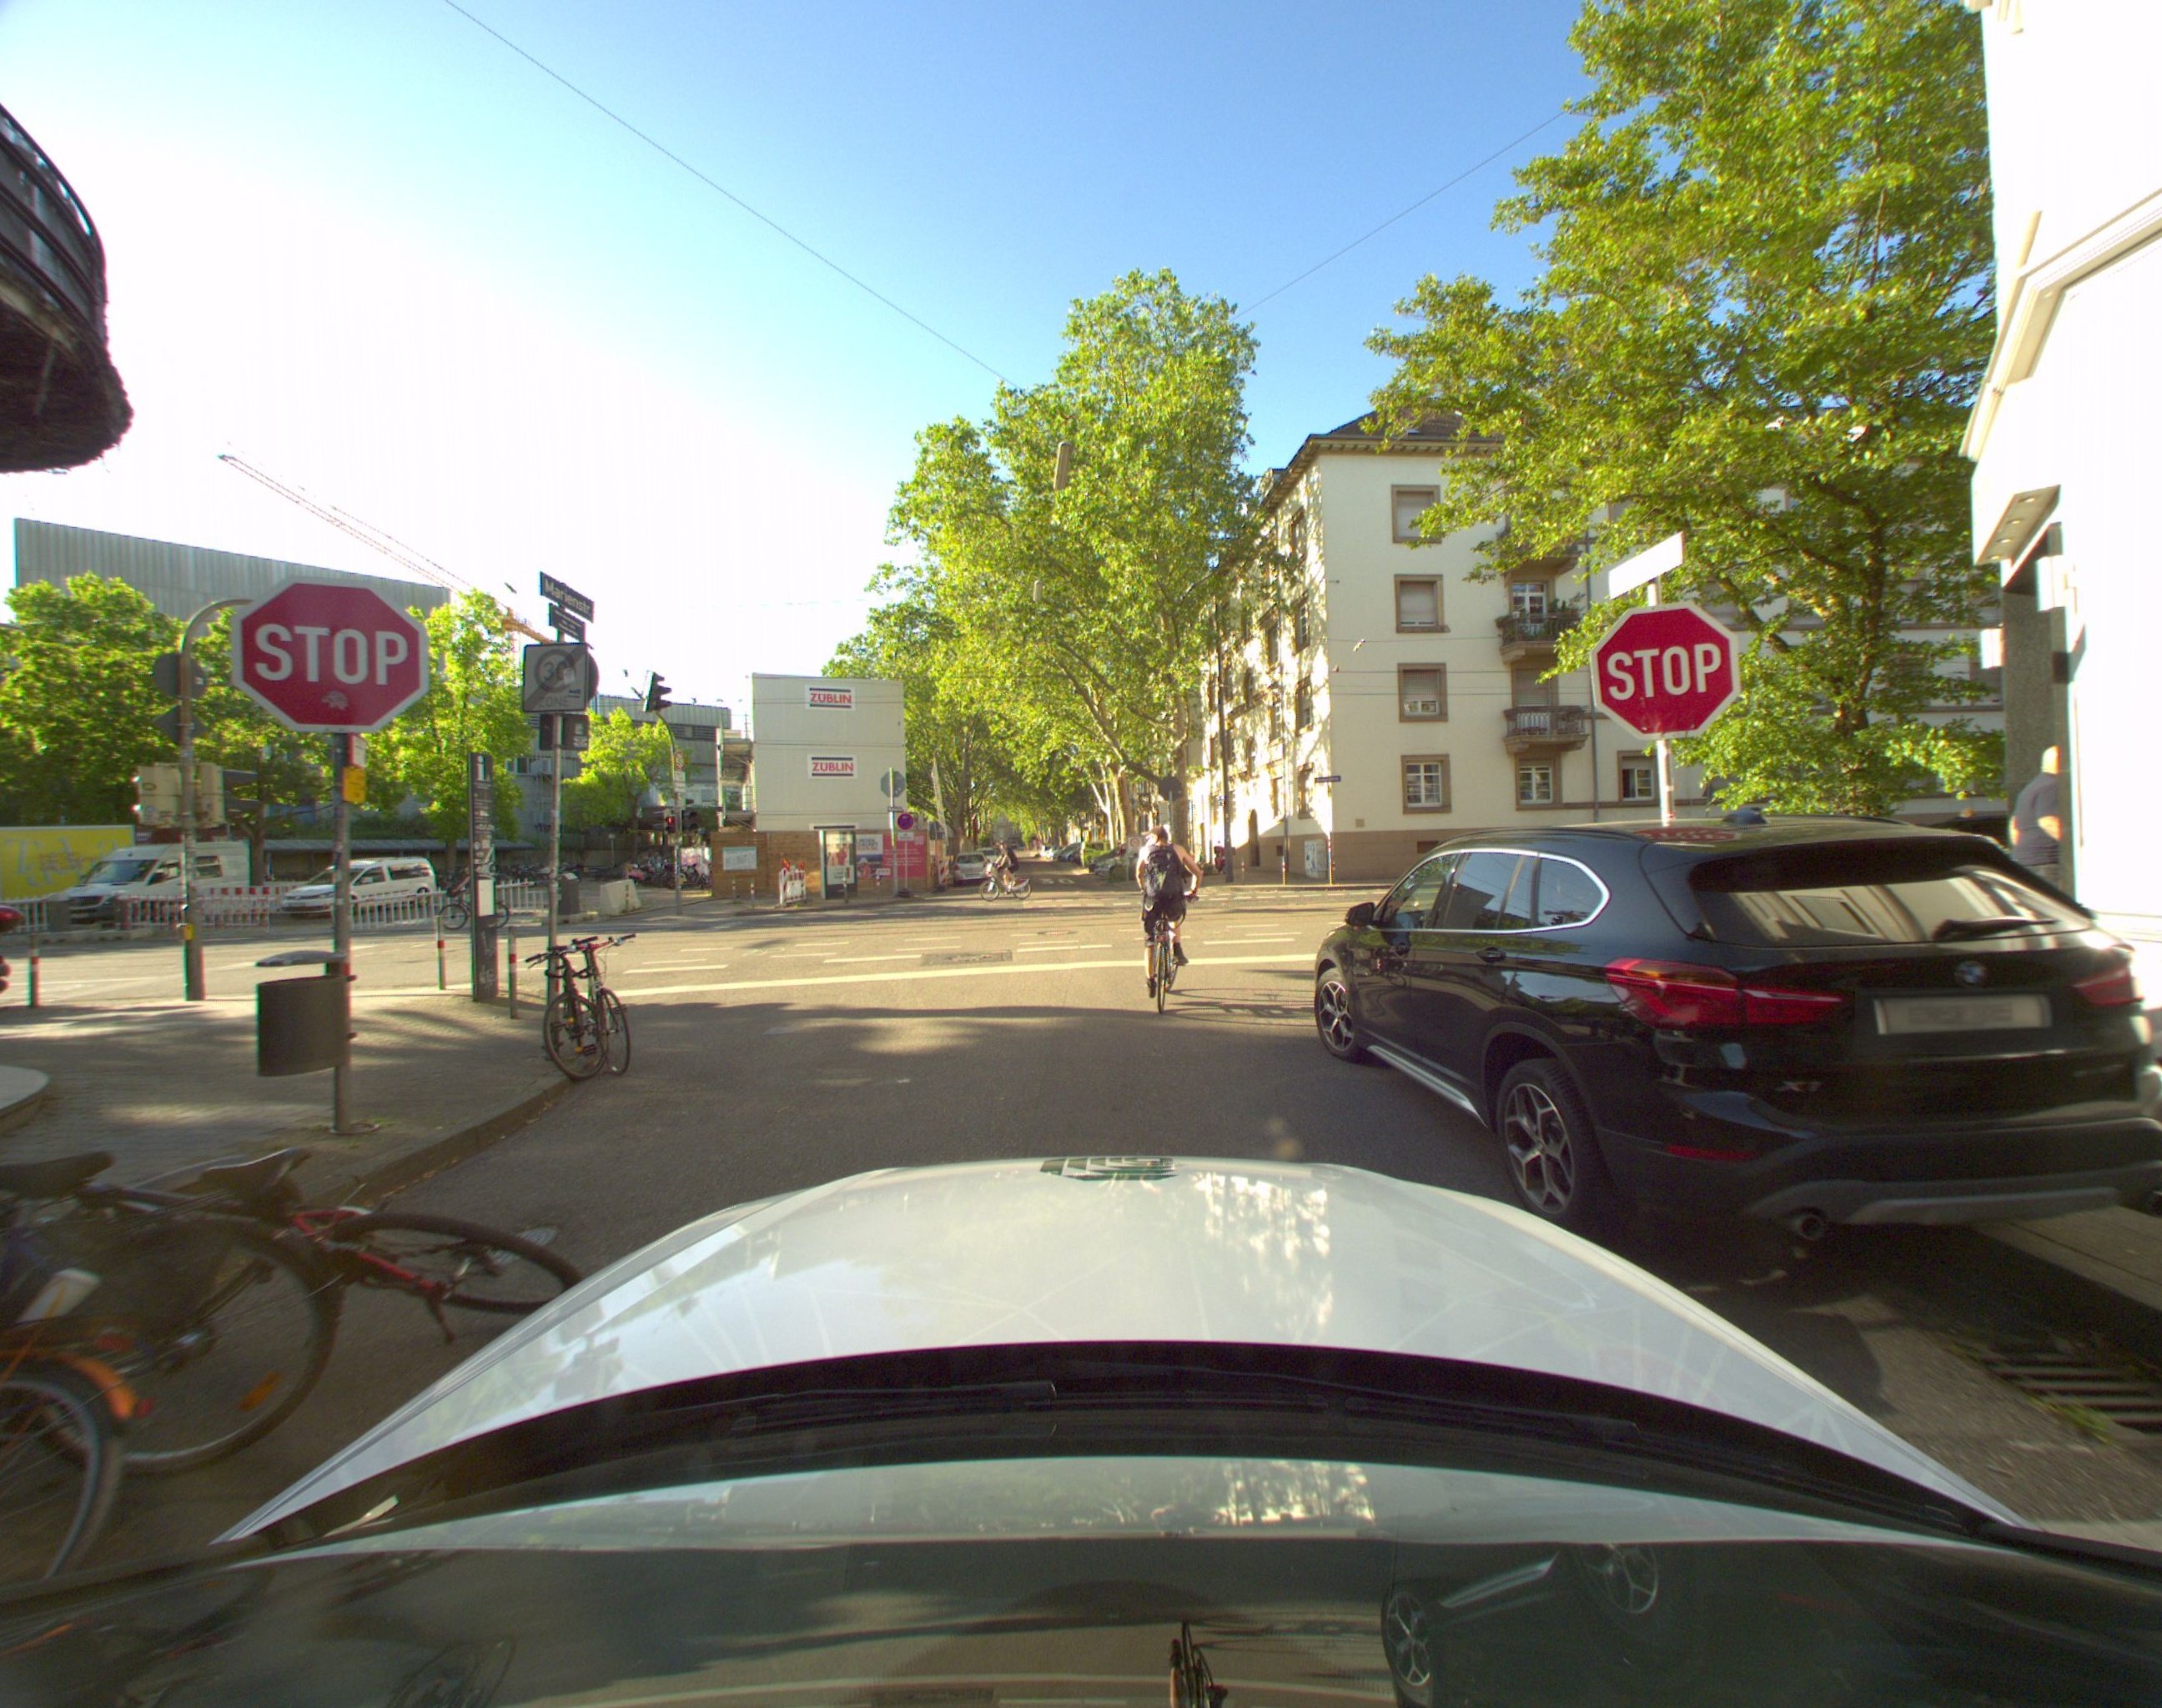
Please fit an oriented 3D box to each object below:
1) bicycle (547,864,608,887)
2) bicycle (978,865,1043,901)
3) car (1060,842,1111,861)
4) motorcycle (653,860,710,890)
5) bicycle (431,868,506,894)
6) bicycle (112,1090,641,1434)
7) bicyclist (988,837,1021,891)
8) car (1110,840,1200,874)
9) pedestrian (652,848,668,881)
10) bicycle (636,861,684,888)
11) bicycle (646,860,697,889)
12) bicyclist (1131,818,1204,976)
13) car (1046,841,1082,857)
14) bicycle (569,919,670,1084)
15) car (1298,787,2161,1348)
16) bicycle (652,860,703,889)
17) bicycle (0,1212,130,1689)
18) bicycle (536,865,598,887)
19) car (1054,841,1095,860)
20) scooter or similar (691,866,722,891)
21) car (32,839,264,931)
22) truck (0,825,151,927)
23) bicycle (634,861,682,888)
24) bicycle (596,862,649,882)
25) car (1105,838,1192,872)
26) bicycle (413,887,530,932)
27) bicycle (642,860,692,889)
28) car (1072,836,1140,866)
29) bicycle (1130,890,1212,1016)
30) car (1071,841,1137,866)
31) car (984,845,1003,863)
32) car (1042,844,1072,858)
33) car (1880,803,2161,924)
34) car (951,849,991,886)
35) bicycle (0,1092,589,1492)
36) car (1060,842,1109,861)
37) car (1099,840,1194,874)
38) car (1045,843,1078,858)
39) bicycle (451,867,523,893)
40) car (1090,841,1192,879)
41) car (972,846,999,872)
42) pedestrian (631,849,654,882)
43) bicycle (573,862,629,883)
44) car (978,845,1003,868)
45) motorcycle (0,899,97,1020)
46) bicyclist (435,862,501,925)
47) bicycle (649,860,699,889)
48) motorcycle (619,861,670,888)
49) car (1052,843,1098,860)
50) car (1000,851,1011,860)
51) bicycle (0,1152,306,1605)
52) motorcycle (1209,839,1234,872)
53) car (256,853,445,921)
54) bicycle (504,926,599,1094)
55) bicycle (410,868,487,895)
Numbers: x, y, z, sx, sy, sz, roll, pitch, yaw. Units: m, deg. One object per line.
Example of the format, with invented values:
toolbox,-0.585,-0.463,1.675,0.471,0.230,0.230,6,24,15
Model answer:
bicycle,-29.418,1.252,47.606,3.065,1.147,0.822,-2,1,3
bicycle,-2.241,0.895,25.844,1.923,1.018,0.677,-3,1,-23
car,0.379,-0.244,74.144,4.456,1.571,1.725,-2,1,-6
motorcycle,-18.383,0.943,37.501,2.224,1.257,0.537,-3,2,-43
bicycle,-30.029,1.319,39.930,3.065,1.147,0.822,-2,1,3
bicycle,-2.255,1.301,2.713,1.308,0.818,0.370,-2,0,-8
bicyclist,-2.436,0.302,25.765,0.813,1.658,0.677,-2,1,-23
car,3.849,0.123,42.678,4.456,1.571,1.725,-2,1,-6
pedestrian,-26.699,0.650,51.634,0.805,2.013,1.021,-2,1,-29
bicycle,-21.093,1.011,40.823,2.061,1.257,0.537,-3,2,-43
bicycle,-19.656,0.979,39.115,2.061,1.257,0.465,-3,2,-43
bicyclist,0.853,0.411,8.168,0.673,1.513,0.669,-1,0,2
car,-2.211,-0.610,106.452,4.456,1.898,1.725,-2,1,-6
bicycle,-3.907,1.160,6.837,0.460,1.045,1.669,-2,3,-38
car,2.629,0.618,4.539,1.754,1.662,4.197,-1,0,0
bicycle,-19.008,0.964,38.392,2.061,1.257,0.465,-3,2,-43
bicycle,-2.764,1.250,1.522,1.308,0.818,0.380,-4,1,-8
bicycle,-29.433,1.251,46.669,3.065,1.147,0.822,-2,1,3
car,-0.728,-0.370,90.968,4.456,1.898,1.725,-2,1,-6
scooter or similar,-16.939,1.104,36.894,0.381,1.020,1.493,-2,1,14
car,-31.490,0.906,27.845,1.992,2.530,5.369,-2,4,-7
truck,-37.130,0.735,27.945,2.378,3.347,7.111,-2,2,-4
bicycle,-21.440,1.020,41.301,2.061,1.257,0.537,-3,2,-43
bicycle,-30.433,1.181,54.037,3.065,1.147,0.822,-2,1,3
car,3.672,0.043,44.754,4.456,1.670,1.725,-2,1,-6
bicycle,-16.550,1.499,22.171,2.418,1.093,0.894,-2,-1,-5
bicycle,-20.300,0.994,39.947,2.061,1.257,0.537,-3,2,-43
car,1.682,-0.209,55.656,4.457,1.836,1.724,-2,1,-7
bicycle,0.864,0.929,8.244,0.687,1.016,1.908,-1,0,2
car,1.621,-0.042,57.673,4.456,1.571,1.725,-2,1,-6
car,-8.206,-0.027,76.206,1.663,1.562,4.606,-2,1,-6
car,-3.665,-0.465,125.696,4.456,1.898,1.725,-2,1,-6
car,14.311,0.110,11.417,1.625,1.555,4.097,-3,-1,-29
car,-5.065,0.594,37.809,1.642,1.494,3.991,-4,1,-6
bicycle,-2.219,1.198,2.340,1.308,0.818,0.354,-2,0,-8
car,0.314,-0.251,76.620,4.456,1.571,1.725,-2,1,-6
car,3.201,0.128,40.243,4.456,1.500,1.725,-2,1,-6
car,-2.748,-0.540,113.856,4.456,1.898,1.725,-2,1,-6
bicycle,-29.890,1.318,41.002,3.065,1.147,0.822,-2,1,3
car,2.730,0.250,37.736,4.456,1.571,1.725,-2,1,-6
car,-6.277,0.304,53.871,1.663,1.562,3.991,-2,1,-6
pedestrian,-27.308,0.708,50.682,0.796,2.013,0.940,-2,1,6
bicycle,-30.108,1.170,51.109,3.065,1.147,0.822,-2,1,3
car,-6.622,0.178,59.560,1.663,1.562,4.509,-2,1,-6
motorcycle,-13.190,1.265,9.850,1.005,1.351,2.395,-3,-1,-35
bicyclist,-16.669,1.051,22.171,1.095,1.640,0.894,-2,-1,-5
bicycle,-19.339,0.973,38.731,2.061,1.257,0.465,-3,2,-43
motorcycle,-22.462,1.024,41.945,2.224,1.257,0.537,-3,2,-43
car,-0.609,-0.249,81.315,4.456,1.571,1.725,-2,1,-6
car,-12.713,0.237,136.660,1.663,1.562,4.210,-2,1,-6
bicycle,-2.767,1.255,1.897,1.386,0.818,0.361,-4,1,-8
motorcycle,5.837,0.058,33.858,0.513,1.332,1.759,-2,1,-7
car,-25.380,1.050,28.611,1.997,1.892,4.949,-2,3,1
bicycle,-4.282,1.174,6.540,0.453,1.045,1.645,-2,1,-38
bicycle,-30.090,1.319,38.780,3.065,1.147,0.822,-2,1,3
